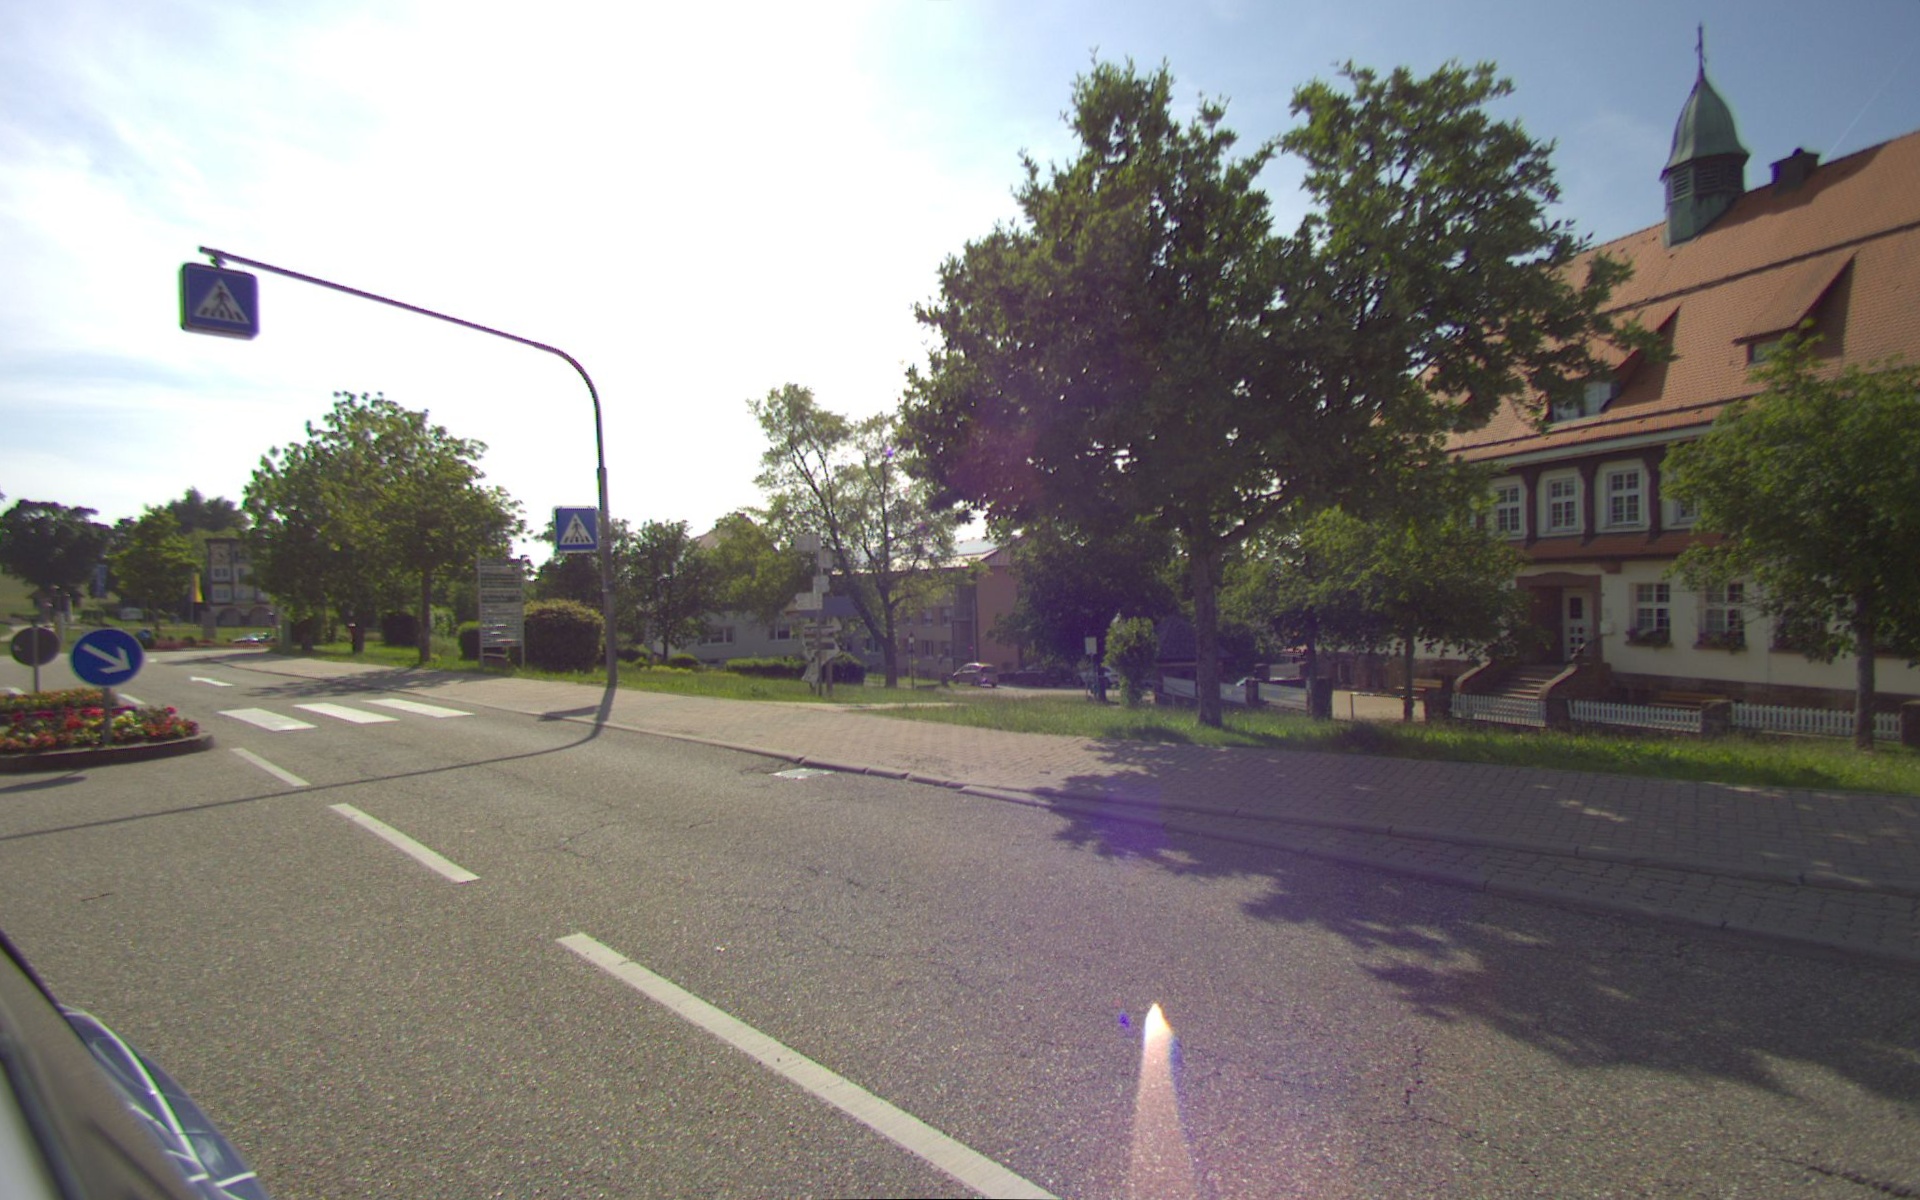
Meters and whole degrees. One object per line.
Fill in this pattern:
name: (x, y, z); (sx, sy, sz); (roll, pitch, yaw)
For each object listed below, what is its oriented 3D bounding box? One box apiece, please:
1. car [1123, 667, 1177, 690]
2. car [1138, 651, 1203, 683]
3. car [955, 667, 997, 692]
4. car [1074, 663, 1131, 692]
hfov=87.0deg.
car: (15.298, 6.334, 81.548); (1.967, 1.676, 4.009); (3, -3, -37)
car: (10.483, 3.310, 50.626); (1.551, 1.478, 3.513); (1, -2, -19)
car: (1.129, 5.603, 71.693); (1.542, 1.652, 2.978); (1, -3, -35)
car: (10.742, 5.790, 76.413); (1.967, 2.029, 4.009); (3, -3, -37)
